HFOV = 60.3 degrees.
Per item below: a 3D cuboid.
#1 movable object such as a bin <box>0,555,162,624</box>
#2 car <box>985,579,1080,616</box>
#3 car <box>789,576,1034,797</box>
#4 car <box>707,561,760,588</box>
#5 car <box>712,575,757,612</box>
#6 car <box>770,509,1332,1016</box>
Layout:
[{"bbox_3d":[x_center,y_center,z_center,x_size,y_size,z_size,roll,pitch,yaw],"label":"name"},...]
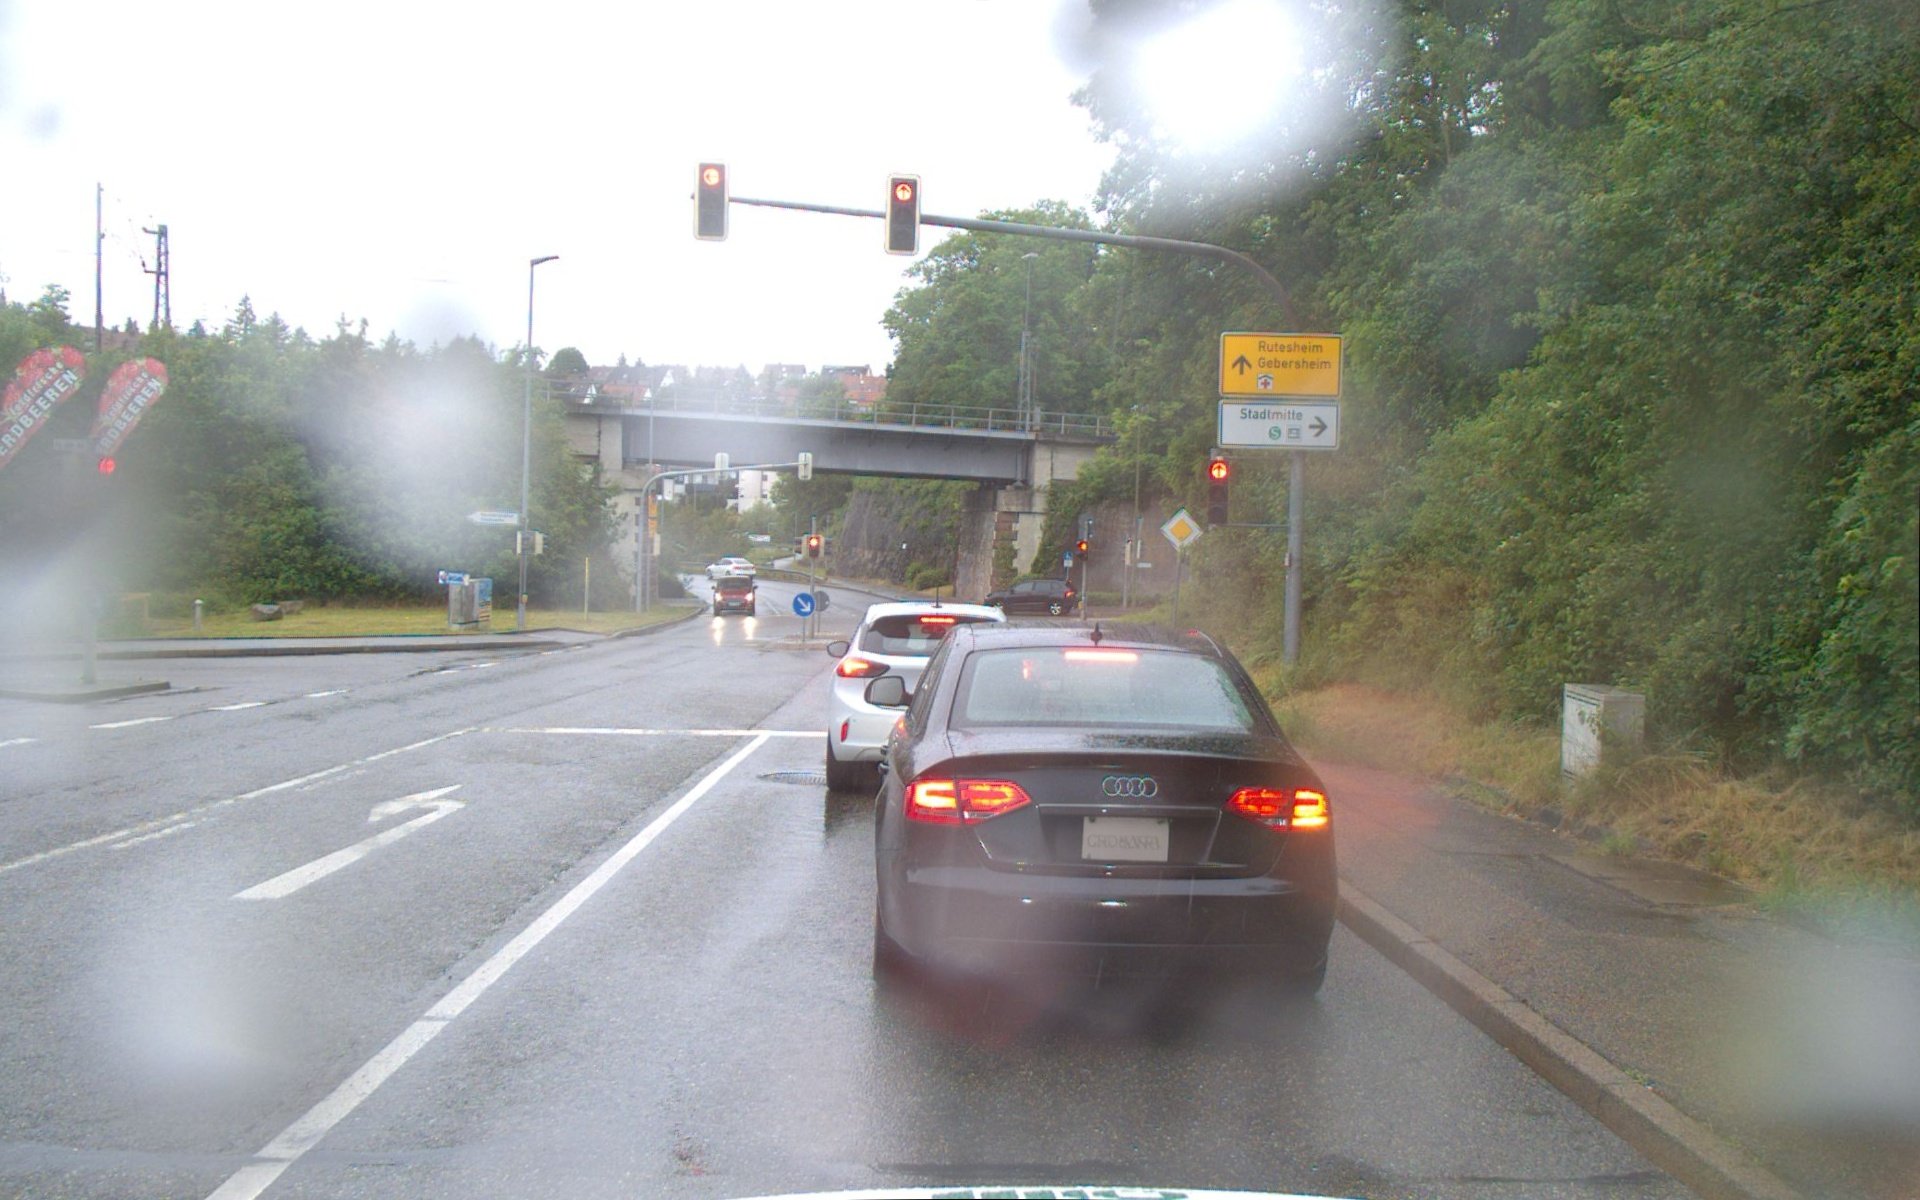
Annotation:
[{"bbox_3d":[-23.798,-0.247,42.025,2.699,1.656,5.752,0,-1,39],"label":"movable object such as a bin"},{"bbox_3d":[3.236,-0.109,73.477,3.902,1.624,2.001,0,0,16],"label":"car"},{"bbox_3d":[-0.389,0.668,14.178,1.786,1.613,3.999,1,-1,-1],"label":"car"},{"bbox_3d":[-15.508,-1.723,113.189,1.789,1.773,4.426,1,-1,-34],"label":"car"},{"bbox_3d":[-10.185,-0.300,74.741,1.956,1.657,3.993,0,0,-8],"label":"car"},{"bbox_3d":[0.271,0.565,7.425,1.832,1.645,3.999,1,-1,-1],"label":"car"}]
